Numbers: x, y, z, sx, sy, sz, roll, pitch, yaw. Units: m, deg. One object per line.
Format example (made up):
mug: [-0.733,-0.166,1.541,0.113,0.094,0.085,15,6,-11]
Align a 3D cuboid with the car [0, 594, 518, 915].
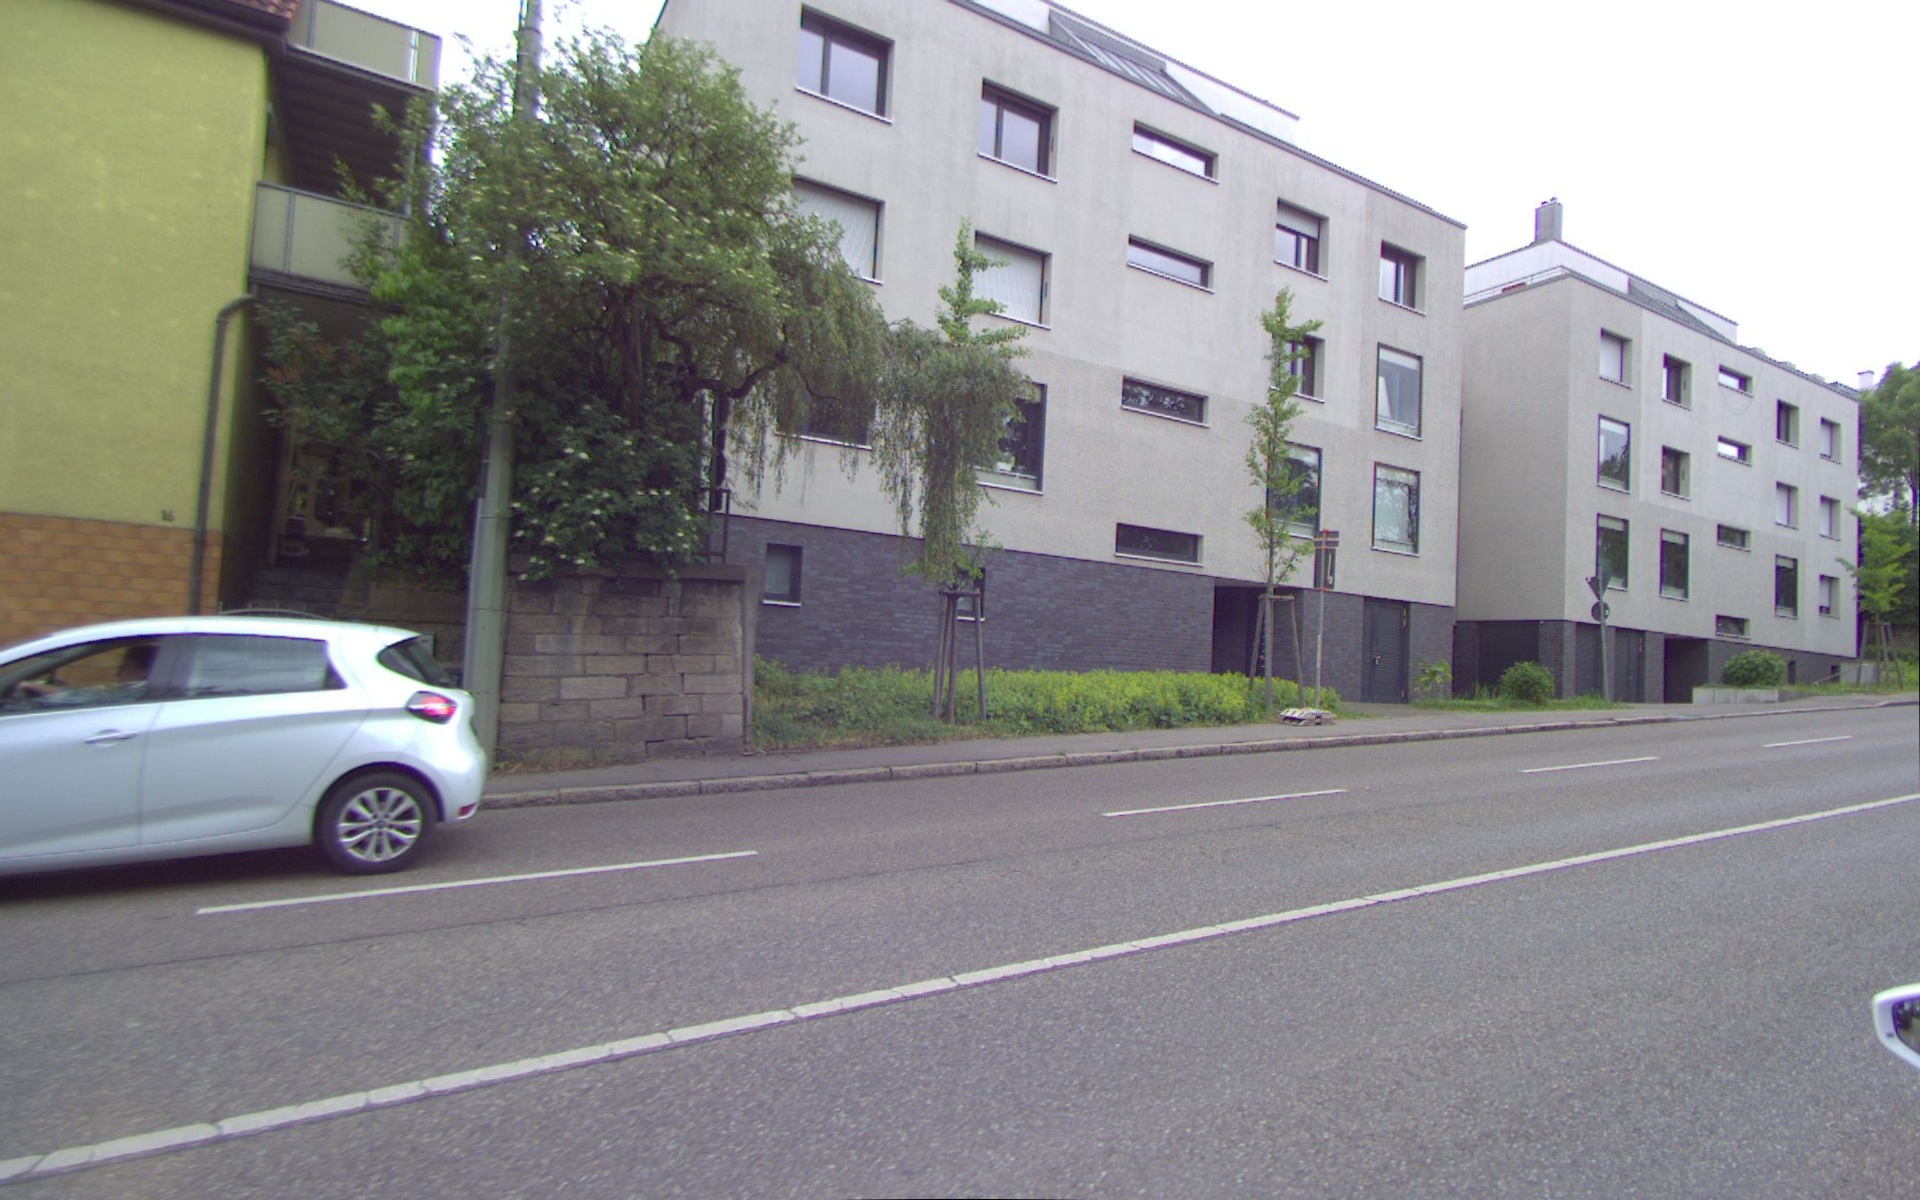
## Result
car: [-4.945,0.840,6.100,4.007,1.634,1.737,1,-3,-29]
